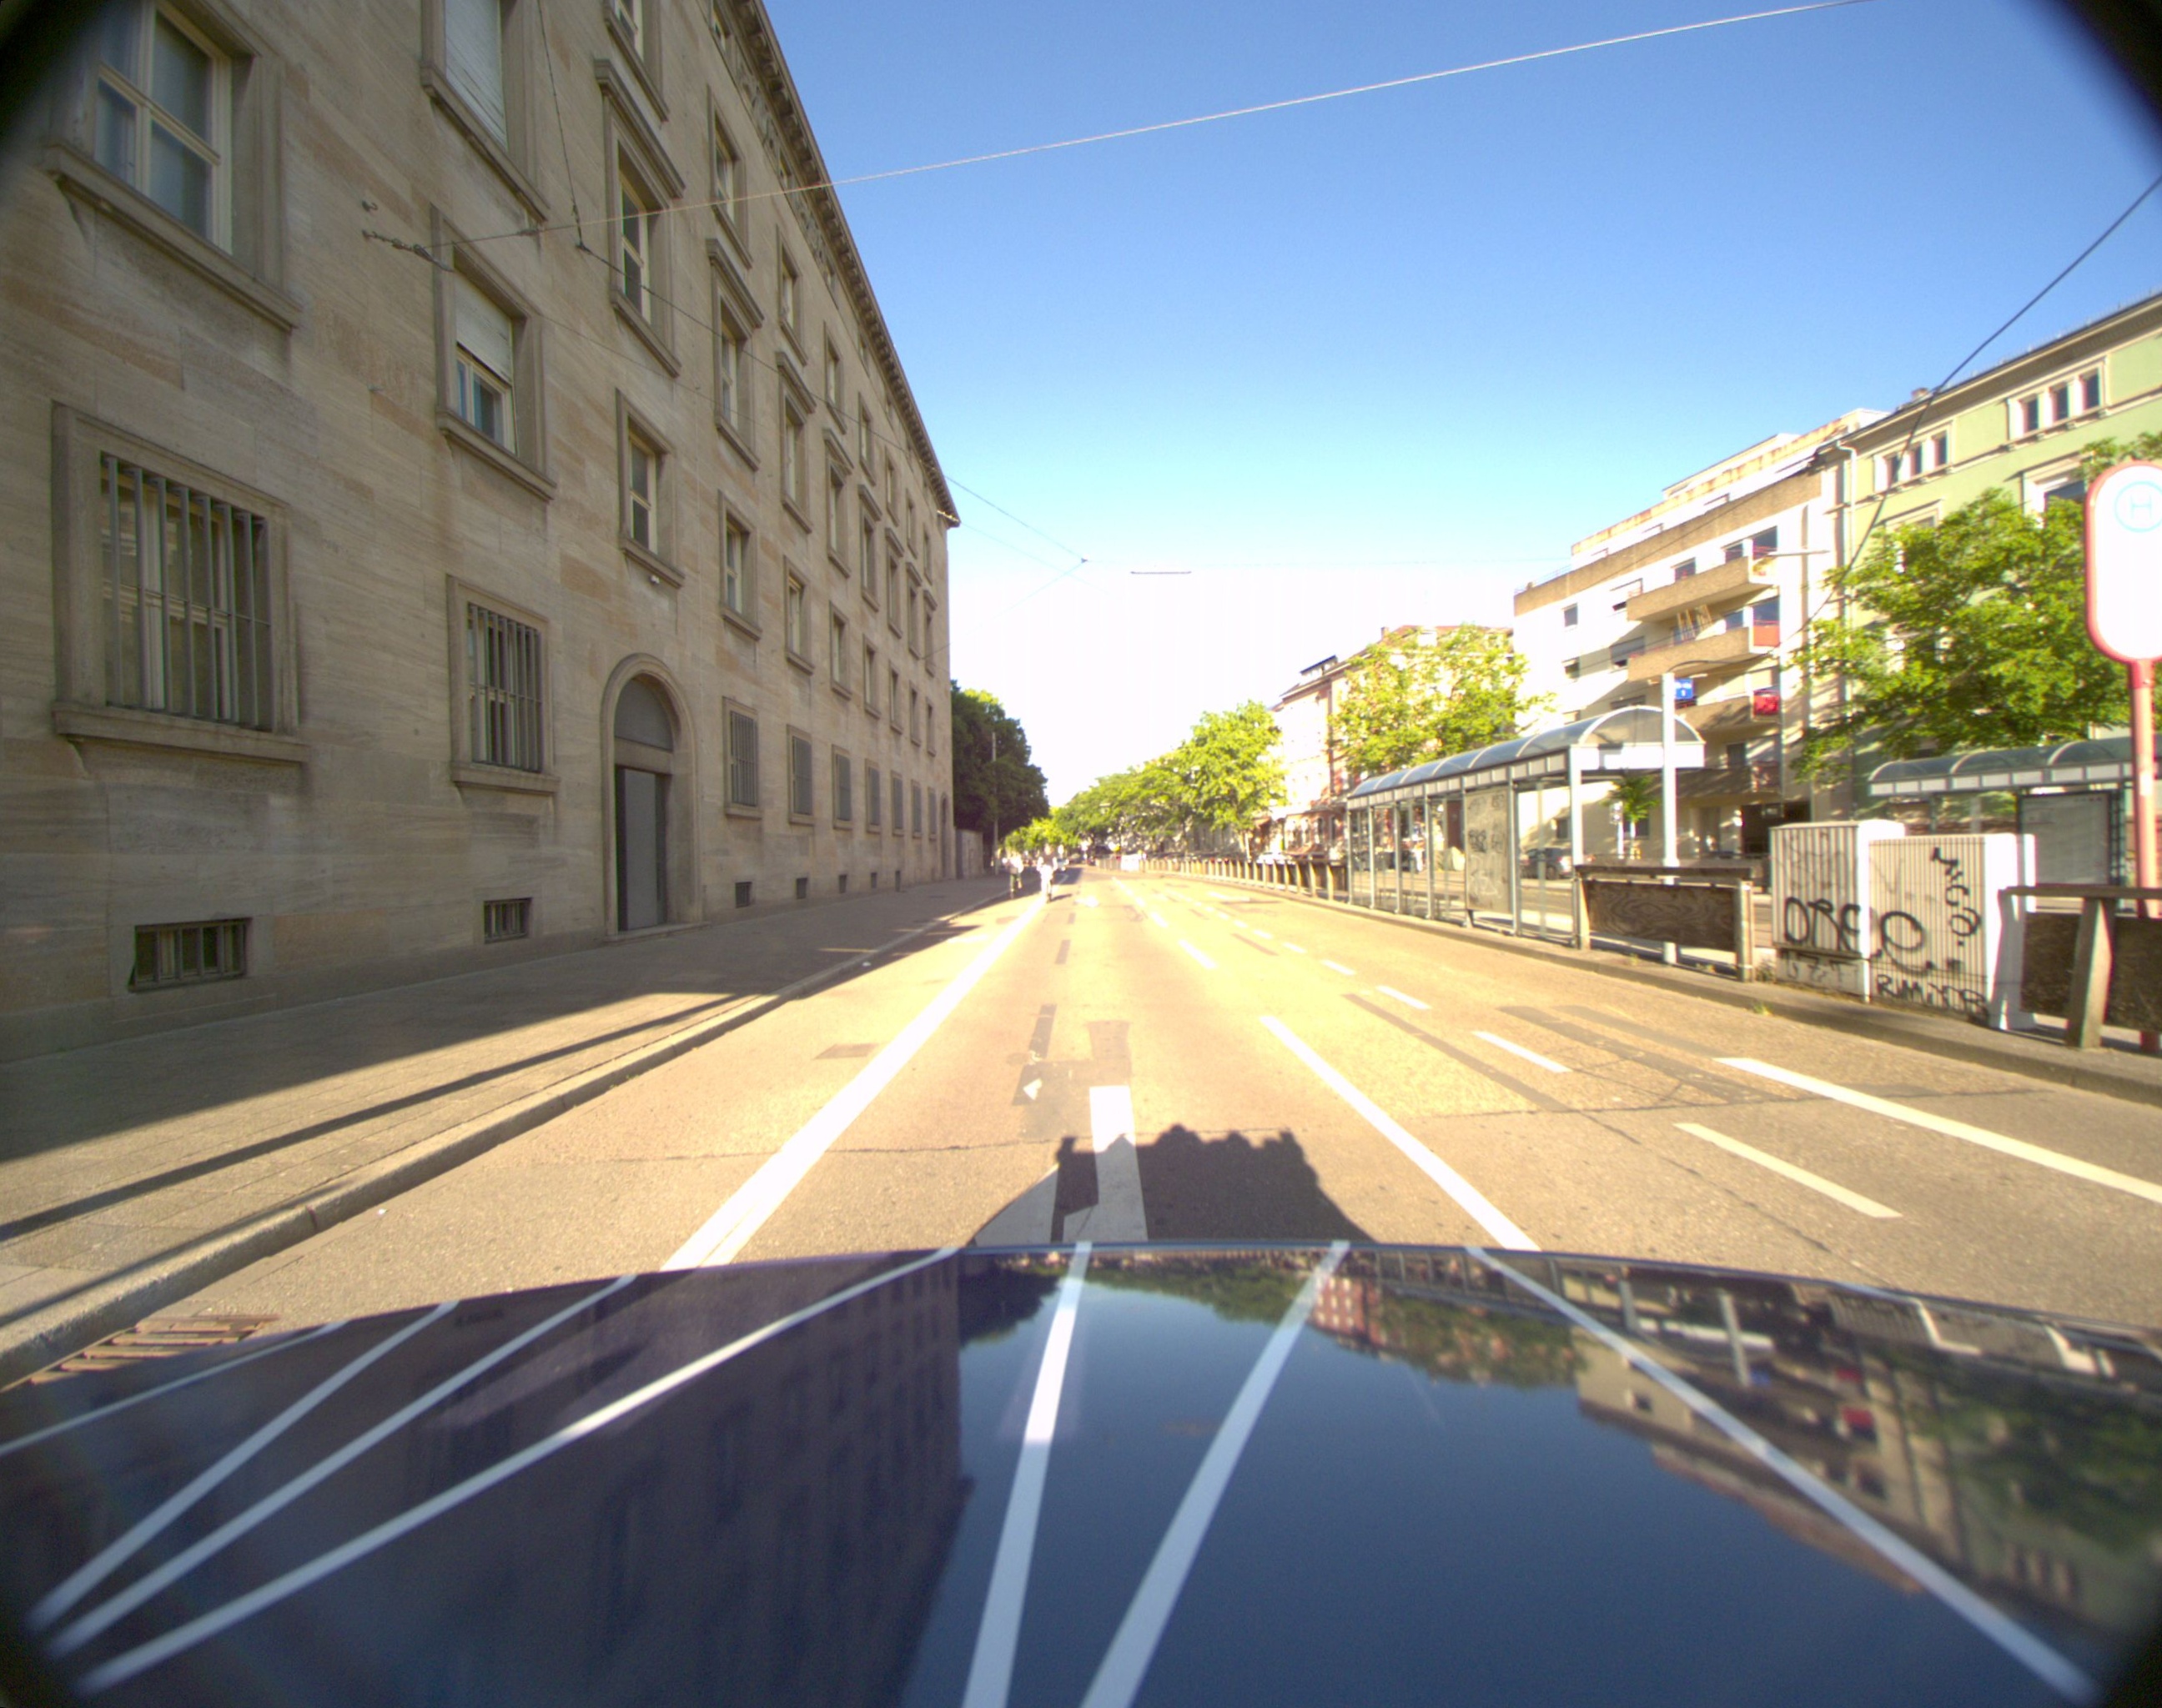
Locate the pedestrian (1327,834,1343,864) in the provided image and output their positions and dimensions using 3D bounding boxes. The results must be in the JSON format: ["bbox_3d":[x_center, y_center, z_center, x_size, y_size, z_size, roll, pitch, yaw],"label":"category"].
[{"bbox_3d":[19.290,-0.382,57.720,0.813,2.194,0.756,-1,1,-10],"label":"pedestrian"}]

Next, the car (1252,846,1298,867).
[{"bbox_3d":[16.229,0.197,63.584,4.134,1.698,1.848,-1,1,-45],"label":"car"}]

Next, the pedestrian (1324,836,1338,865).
[{"bbox_3d":[19.458,-0.291,59.180,0.812,2.194,0.756,-1,1,-4],"label":"pedestrian"}]

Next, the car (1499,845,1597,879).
[{"bbox_3d":[20.899,0.339,34.144,1.654,1.419,3.737,-1,0,-11],"label":"car"}]

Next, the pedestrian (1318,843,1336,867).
[{"bbox_3d":[17.926,0.068,55.312,0.855,1.710,1.019,-1,1,-8],"label":"pedestrian"}]

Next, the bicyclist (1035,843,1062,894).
[{"bbox_3d":[-1.024,0.461,24.337,0.728,1.570,0.775,-3,1,1],"label":"bicyclist"}]

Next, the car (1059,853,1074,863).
[{"bbox_3d":[-2.320,0.635,123.209,1.648,1.480,3.995,-2,1,-12],"label":"car"}]

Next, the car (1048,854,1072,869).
[{"bbox_3d":[-2.100,0.688,75.579,1.772,1.429,3.830,-1,0,-11],"label":"car"}]

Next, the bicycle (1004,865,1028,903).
[{"bbox_3d":[-2.295,1.051,27.094,0.625,1.214,1.659,-3,1,1],"label":"bicycle"}]

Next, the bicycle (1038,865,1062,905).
[{"bbox_3d":[-0.993,0.984,24.428,0.625,1.167,1.566,-3,0,1],"label":"bicycle"}]

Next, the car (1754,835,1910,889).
[{"bbox_3d":[24.045,0.230,24.366,4.002,1.573,1.761,-1,0,-14],"label":"car"}]

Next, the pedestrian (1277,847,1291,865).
[{"bbox_3d":[18.036,0.177,67.590,0.869,1.619,0.890,-1,1,-15],"label":"pedestrian"}]

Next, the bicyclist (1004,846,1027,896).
[{"bbox_3d":[-2.318,0.604,26.983,0.625,1.729,0.688,-3,1,1],"label":"bicyclist"}]

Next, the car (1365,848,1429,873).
[{"bbox_3d":[18.502,0.345,44.688,1.609,1.388,3.997,-1,0,-9],"label":"car"}]

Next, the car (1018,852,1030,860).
[{"bbox_3d":[-12.354,0.438,163.902,2.001,1.789,3.995,-1,0,-13],"label":"car"}]

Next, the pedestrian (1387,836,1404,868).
[{"bbox_3d":[21.290,-0.131,51.451,0.813,2.194,0.756,-1,1,-10],"label":"pedestrian"}]

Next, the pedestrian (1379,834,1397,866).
[{"bbox_3d":[21.139,-0.279,52.322,0.813,2.194,0.756,-1,1,-10],"label":"pedestrian"}]

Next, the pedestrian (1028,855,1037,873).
[{"bbox_3d":[-3.735,0.765,58.839,0.548,1.327,0.587,-1,1,7],"label":"pedestrian"}]

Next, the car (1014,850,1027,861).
[{"bbox_3d":[-11.687,0.267,147.247,2.000,2.002,3.996,-1,0,-10],"label":"car"}]

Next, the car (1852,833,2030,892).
[{"bbox_3d":[24.726,0.222,21.885,4.002,1.573,1.761,-1,0,-14],"label":"car"}]
